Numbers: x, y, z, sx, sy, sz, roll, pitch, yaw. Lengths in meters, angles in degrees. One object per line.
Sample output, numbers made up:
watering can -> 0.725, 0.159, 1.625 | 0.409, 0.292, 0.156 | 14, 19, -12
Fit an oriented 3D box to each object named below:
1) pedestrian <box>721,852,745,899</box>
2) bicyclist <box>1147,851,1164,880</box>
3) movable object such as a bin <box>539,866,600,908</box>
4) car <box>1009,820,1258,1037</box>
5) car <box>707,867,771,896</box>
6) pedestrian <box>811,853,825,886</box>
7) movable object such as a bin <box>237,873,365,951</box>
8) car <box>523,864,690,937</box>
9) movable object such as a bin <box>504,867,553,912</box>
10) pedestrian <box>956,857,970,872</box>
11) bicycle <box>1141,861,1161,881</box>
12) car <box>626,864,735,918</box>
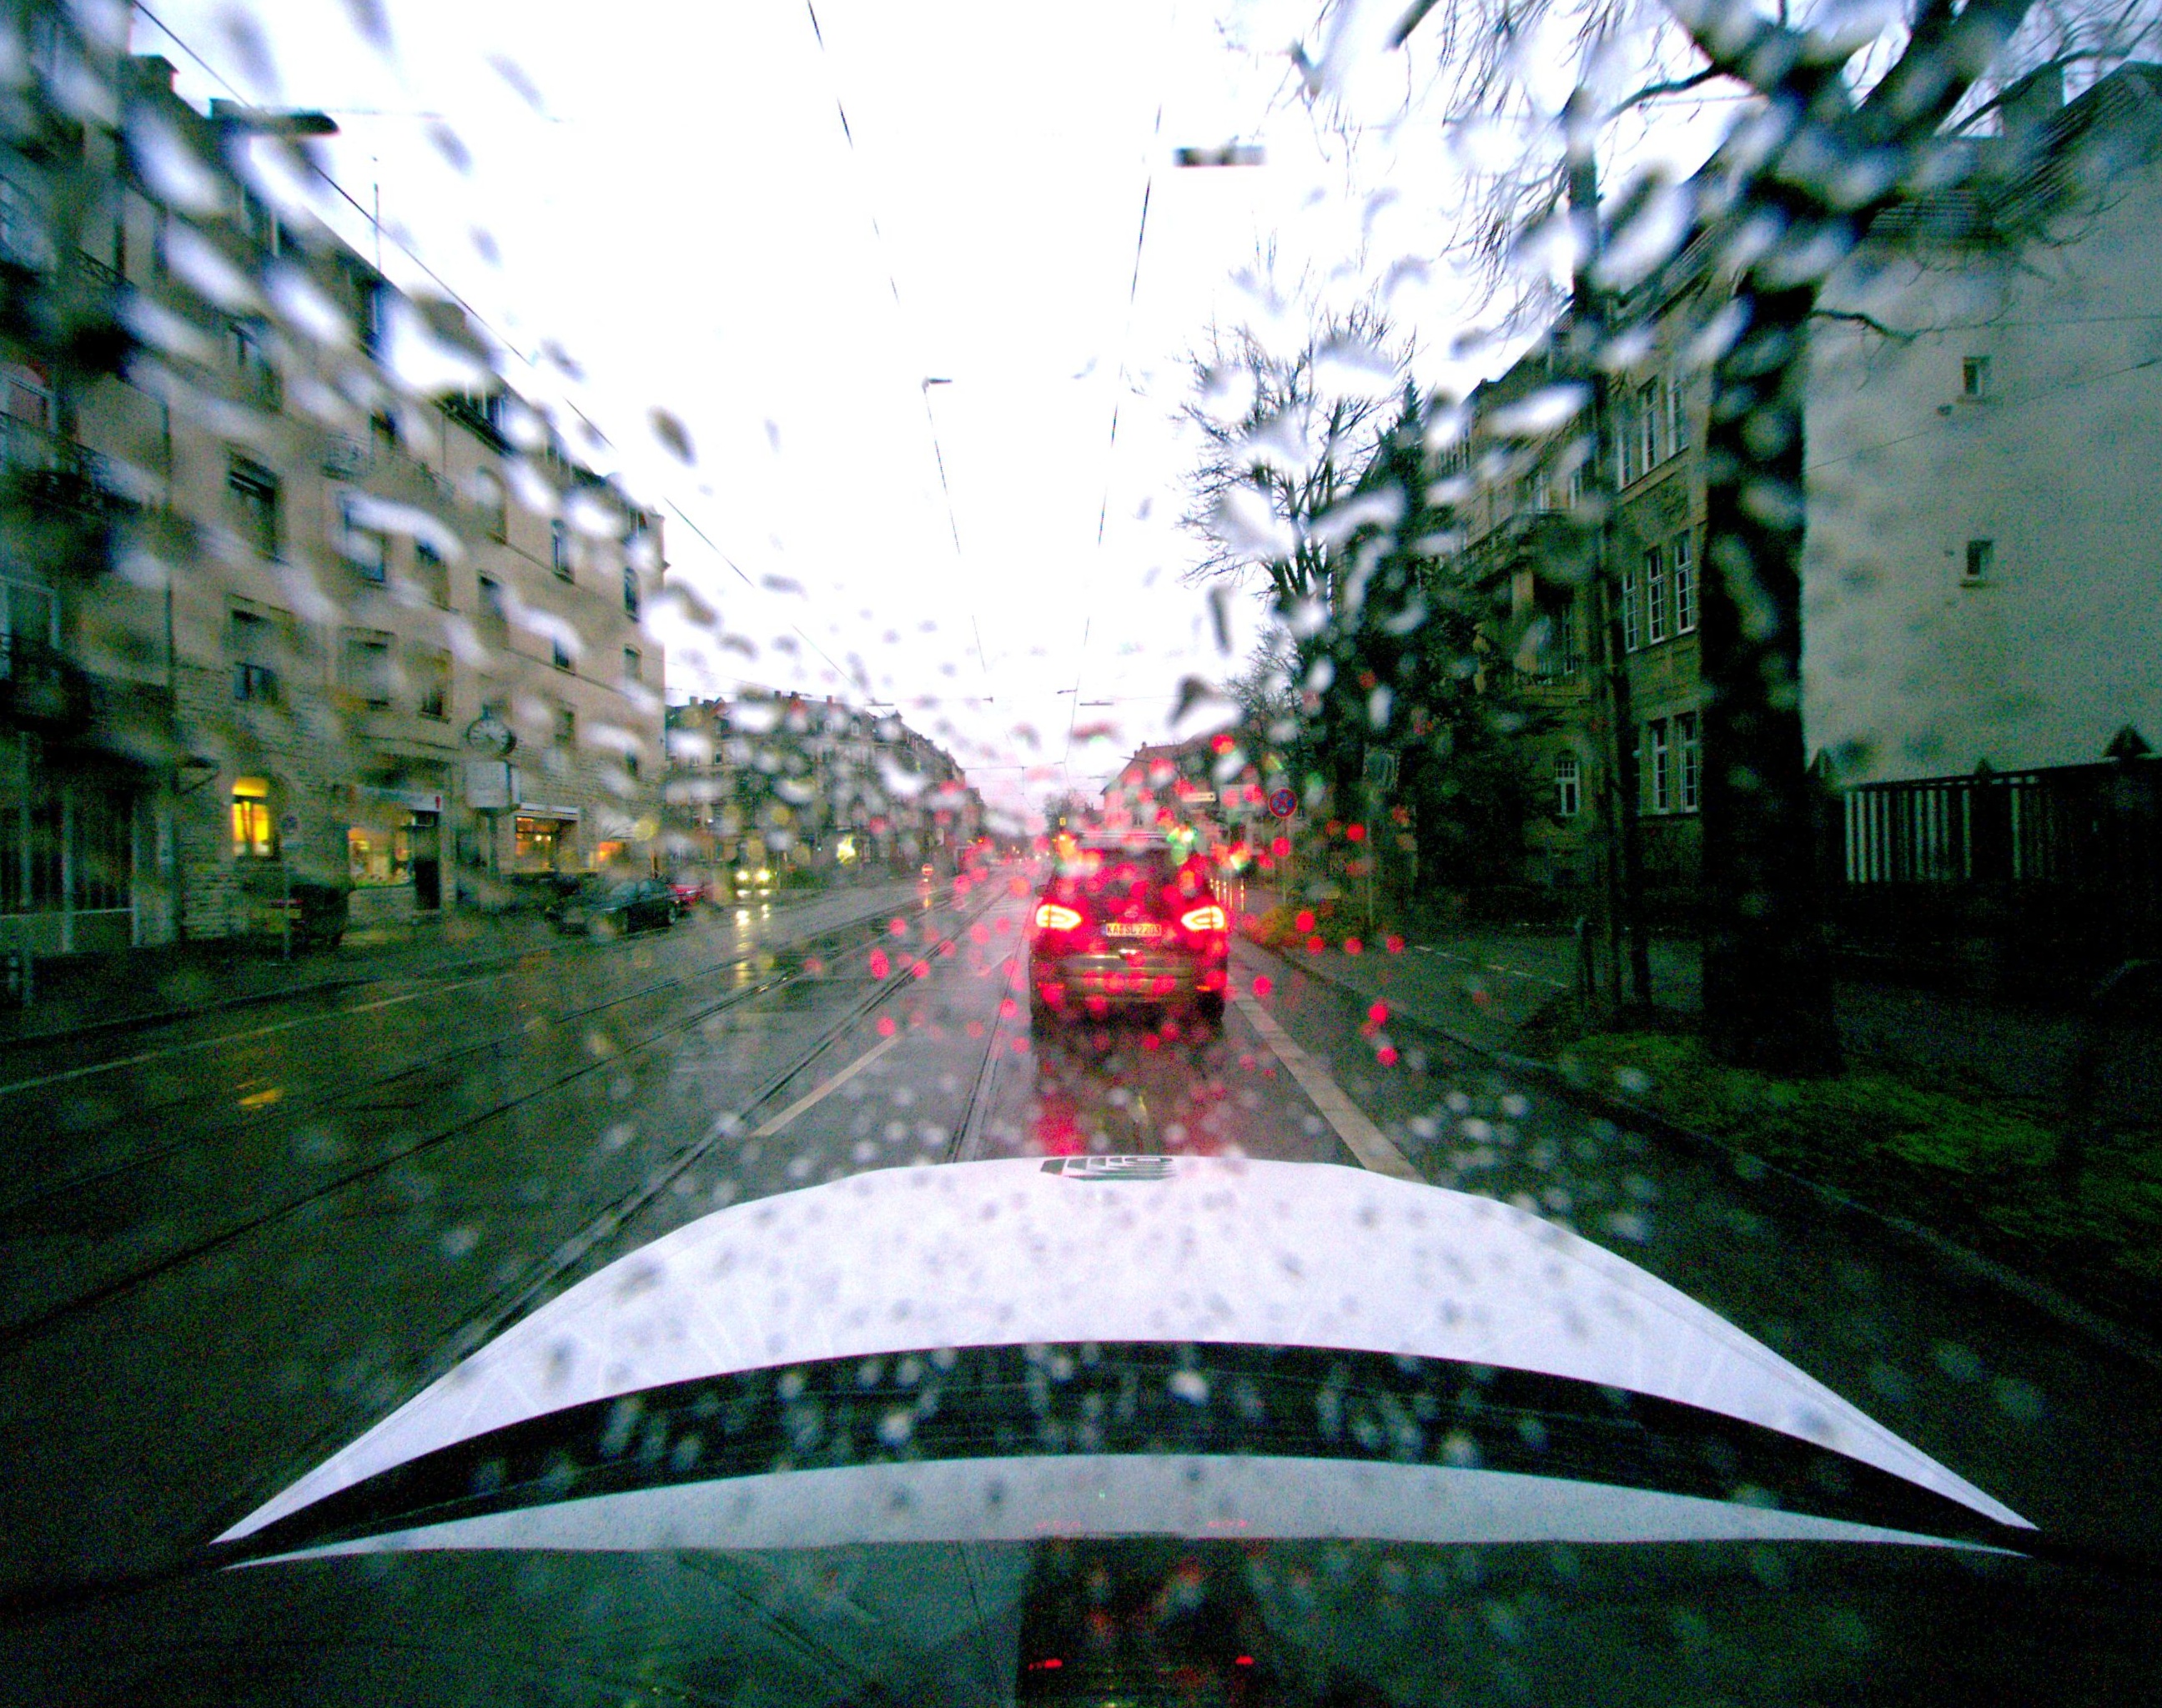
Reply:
pedestrian -> -15.080, 0.947, 35.330 | 0.748, 2.014, 0.652 | -1, -1, 34
bicyclist -> 4.382, 0.697, 48.054 | 0.716, 1.662, 1.054 | 2, -1, -6
movable object such as a bin -> -17.529, 1.109, 27.940 | 1.290, 1.367, 1.251 | -1, 0, -3
car -> 0.454, 0.632, 9.205 | 2.097, 1.816, 4.660 | 0, 0, 0
car -> -21.279, 1.691, 50.584 | 3.948, 1.673, 2.035 | -1, 0, 40
pedestrian -> -16.128, 0.943, 49.938 | 0.707, 2.013, 0.656 | -1, 0, -22
movable object such as a bin -> -15.157, 1.102, 15.883 | 1.264, 1.420, 1.249 | -1, 0, -2
car -> -12.579, 1.157, 22.007 | 1.982, 1.645, 4.623 | 3, -1, -5
movable object such as a bin -> -17.974, 1.144, 26.508 | 0.896, 1.377, 1.006 | -1, 0, -2
pedestrian -> -9.837, 0.893, 67.867 | 1.044, 1.200, 0.884 | -1, -1, -1
bicycle -> 4.113, 0.968, 47.965 | 0.716, 1.112, 1.937 | 3, 0, -6
car -> -13.475, 1.206, 27.703 | 2.036, 1.552, 4.022 | 2, 0, -7
